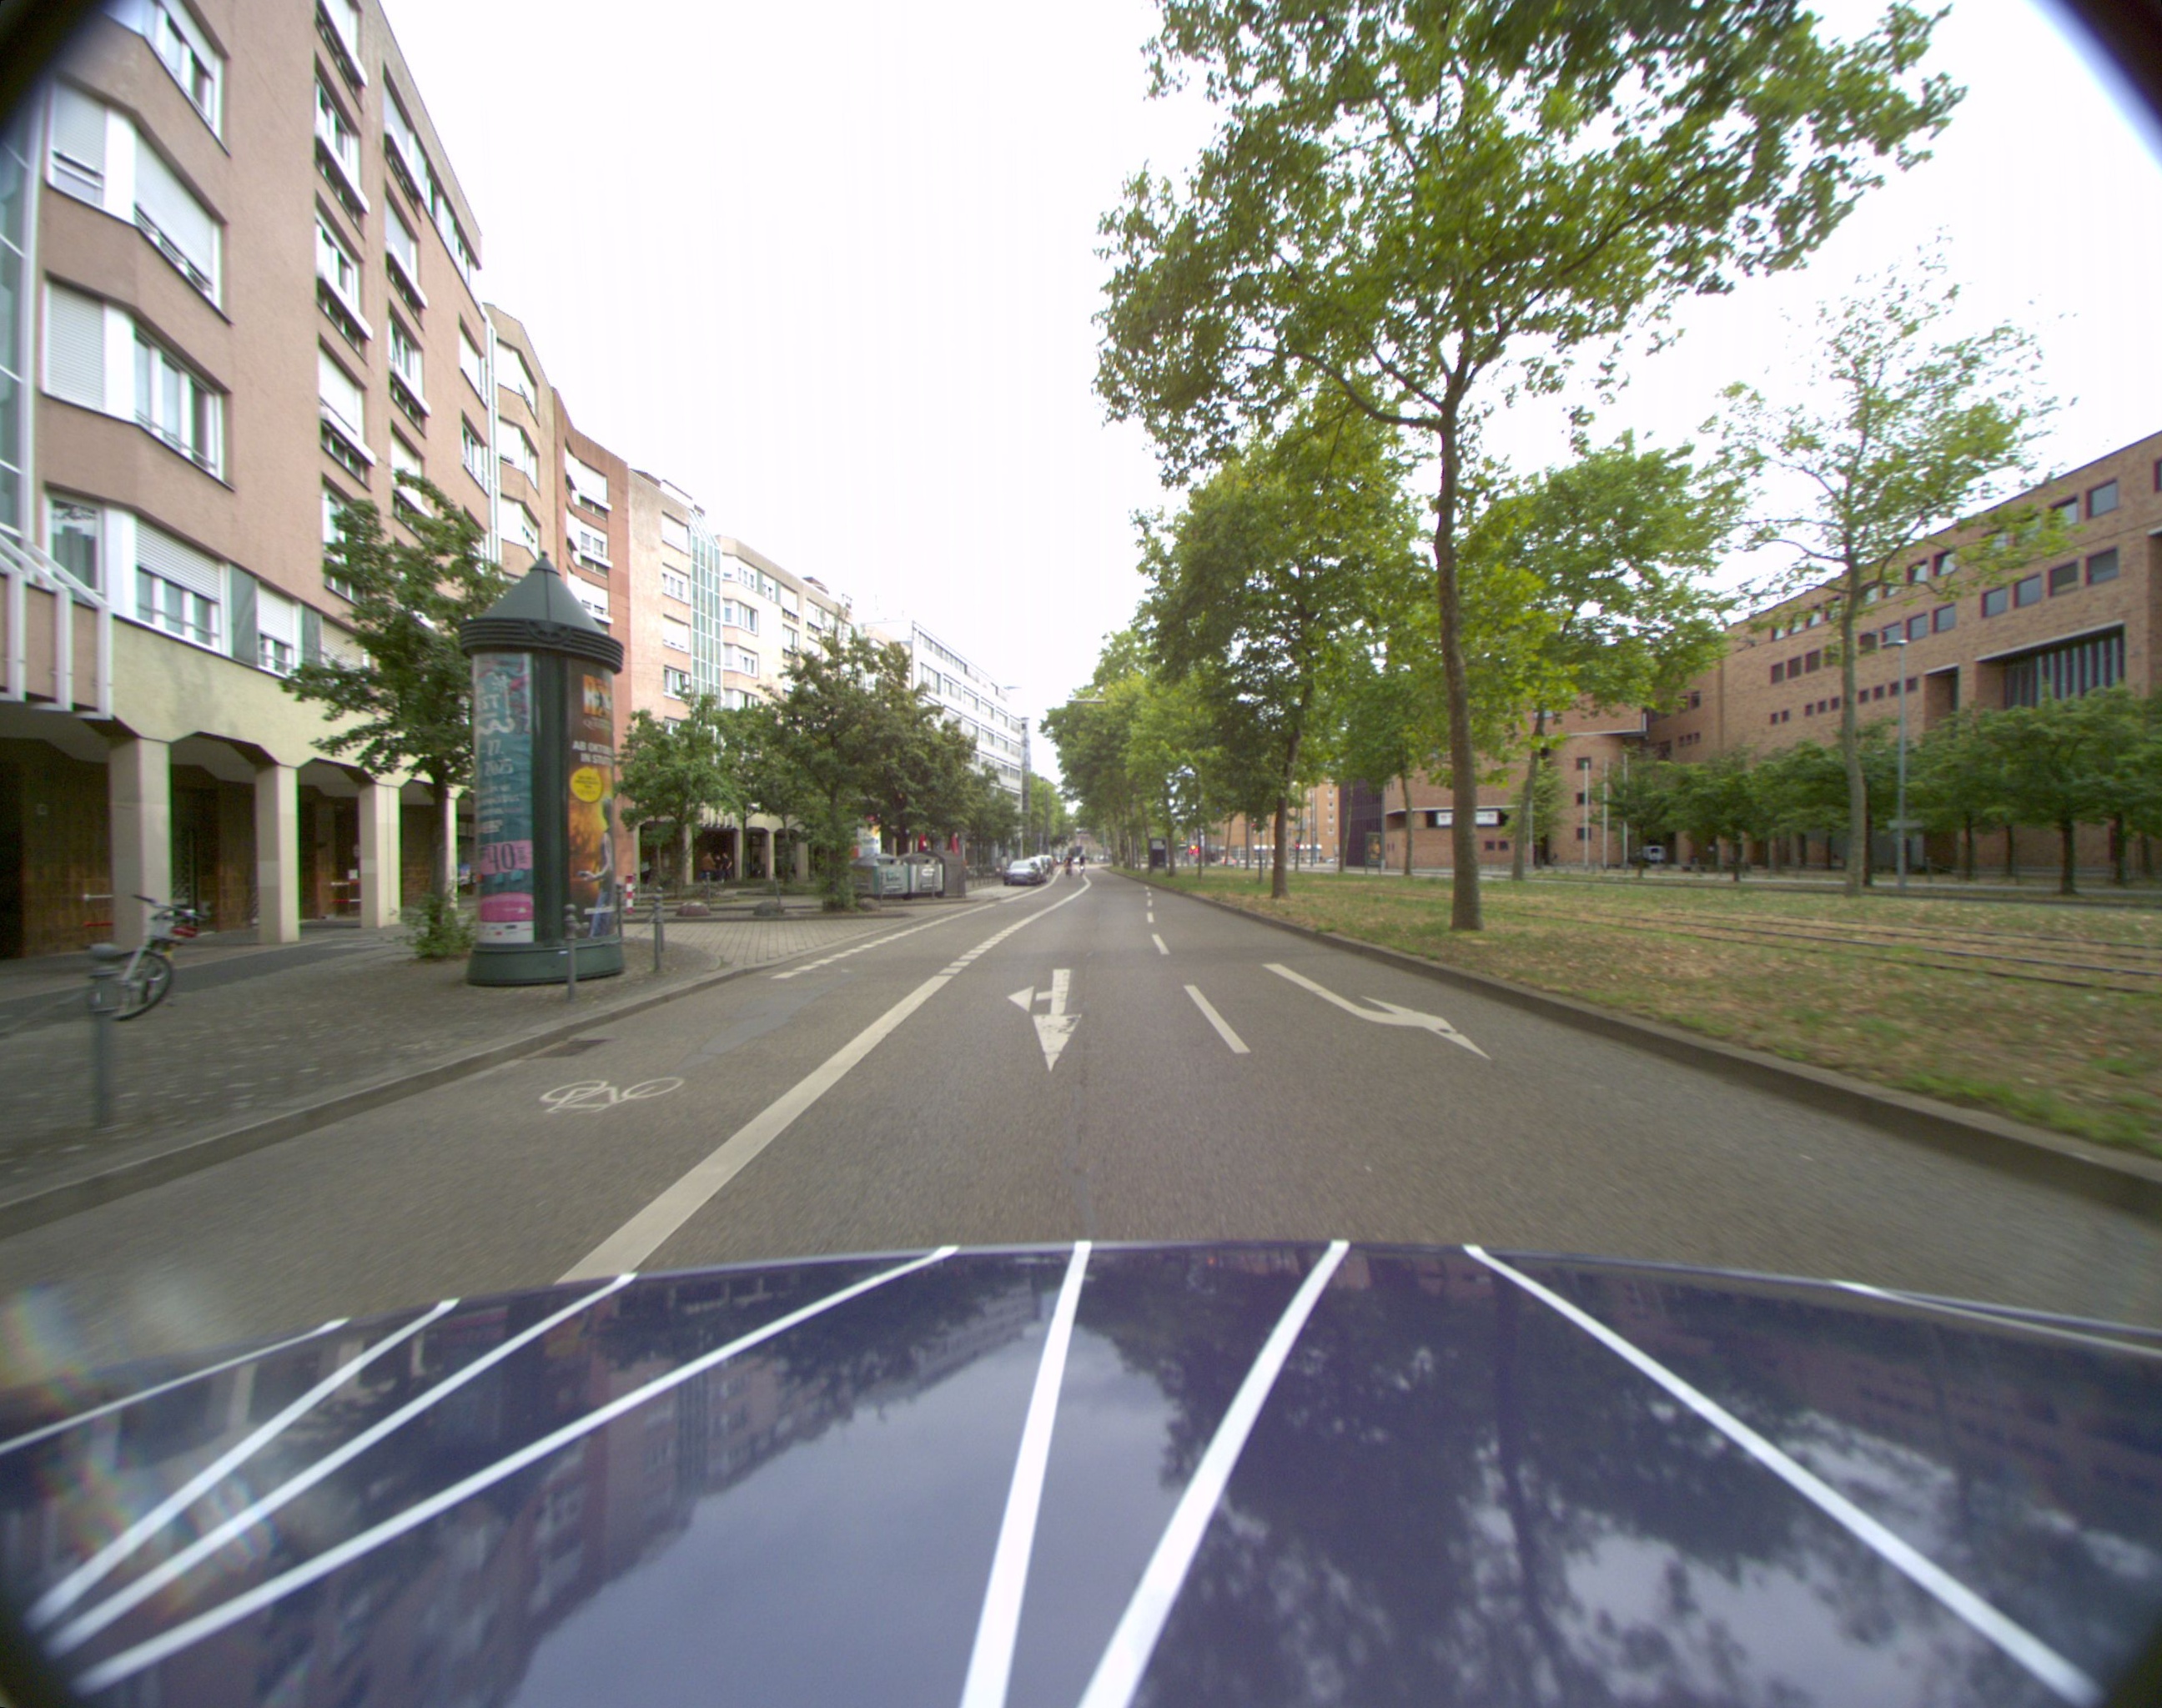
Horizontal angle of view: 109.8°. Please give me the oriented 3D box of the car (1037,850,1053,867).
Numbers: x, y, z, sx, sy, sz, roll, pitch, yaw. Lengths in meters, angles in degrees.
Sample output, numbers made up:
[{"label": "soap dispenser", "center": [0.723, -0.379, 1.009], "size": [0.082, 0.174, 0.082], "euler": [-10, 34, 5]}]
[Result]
[{"label": "car", "center": [-4.197, 0.563, 88.623], "size": [1.832, 1.853, 4.647], "euler": [2, 0, -3]}]

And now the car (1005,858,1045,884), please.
[{"label": "car", "center": [-3.196, 0.957, 44.510], "size": [1.821, 1.434, 4.666], "euler": [1, 0, 2]}]

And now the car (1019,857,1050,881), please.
[{"label": "car", "center": [-3.046, 0.951, 50.519], "size": [1.744, 1.510, 4.401], "euler": [1, 0, 1]}]

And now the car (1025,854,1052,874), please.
[{"label": "car", "center": [-3.611, 0.807, 64.993], "size": [1.865, 1.643, 4.164], "euler": [1, 0, 3]}]

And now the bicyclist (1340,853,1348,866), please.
[{"label": "bicyclist", "center": [31.464, 0.630, 90.909], "size": [0.665, 1.581, 0.984], "euler": [0, 0, 3]}]

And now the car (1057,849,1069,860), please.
[{"label": "car", "center": [-3.972, 0.071, 170.693], "size": [2.174, 2.441, 6.998], "euler": [0, 0, 3]}]

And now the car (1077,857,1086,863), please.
[{"label": "car", "center": [0.129, 1.343, 174.261], "size": [1.845, 1.369, 3.835], "euler": [0, -1, 4]}]

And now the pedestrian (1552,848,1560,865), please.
[{"label": "pedestrian", "center": [44.579, 0.242, 71.310], "size": [0.507, 1.523, 0.521], "euler": [0, 0, 15]}]

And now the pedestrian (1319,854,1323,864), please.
[{"label": "pedestrian", "center": [42.734, 0.915, 135.127], "size": [0.540, 1.721, 0.543], "euler": [0, 1, -2]}]

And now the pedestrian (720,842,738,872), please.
[{"label": "pedestrian", "center": [-19.820, 0.162, 42.805], "size": [0.606, 1.653, 0.682], "euler": [0, 1, 9]}]

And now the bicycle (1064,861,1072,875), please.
[{"label": "bicycle", "center": [-1.084, 1.140, 62.508], "size": [0.595, 1.132, 1.734], "euler": [0, 0, 0]}]

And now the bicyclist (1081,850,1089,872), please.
[{"label": "bicyclist", "center": [0.327, 0.564, 61.168], "size": [0.591, 1.760, 1.035], "euler": [0, 0, 0]}]

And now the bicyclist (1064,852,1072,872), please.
[{"label": "bicyclist", "center": [-1.072, 0.654, 62.403], "size": [0.591, 1.644, 1.035], "euler": [0, 0, 0]}]

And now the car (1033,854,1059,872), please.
[{"label": "car", "center": [-3.319, 0.815, 72.356], "size": [1.778, 1.567, 4.307], "euler": [2, 0, 6]}]

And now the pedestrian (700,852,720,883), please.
[{"label": "pedestrian", "center": [-19.629, 0.706, 40.239], "size": [0.534, 1.653, 0.852], "euler": [0, 1, 12]}]

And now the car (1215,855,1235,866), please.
[{"label": "car", "center": [19.392, 0.888, 102.496], "size": [1.788, 1.413, 4.657], "euler": [0, 0, -2]}]

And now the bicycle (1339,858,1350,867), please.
[{"label": "bicycle", "center": [31.464, 1.042, 90.851], "size": [0.669, 1.078, 2.094], "euler": [0, 0, 3]}]

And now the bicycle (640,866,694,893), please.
[{"label": "bicycle", "center": [-17.786, 1.079, 32.679], "size": [0.595, 1.106, 1.968], "euler": [0, 1, 45]}]

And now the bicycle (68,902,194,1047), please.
[{"label": "bicycle", "center": [-9.101, 1.090, 7.330], "size": [1.660, 1.122, 0.672], "euler": [1, 1, 41]}]

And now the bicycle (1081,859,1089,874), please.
[{"label": "bicycle", "center": [0.320, 1.001, 61.127], "size": [0.595, 1.132, 1.858], "euler": [0, 0, 0]}]

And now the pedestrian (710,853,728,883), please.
[{"label": "pedestrian", "center": [-20.449, 0.775, 42.905], "size": [0.606, 1.653, 0.682], "euler": [0, 1, 9]}]

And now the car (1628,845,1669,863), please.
[{"label": "car", "center": [58.188, -0.003, 77.981], "size": [1.896, 1.797, 4.003], "euler": [0, 0, 11]}]

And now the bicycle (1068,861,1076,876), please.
[{"label": "bicycle", "center": [-0.671, 1.081, 57.566], "size": [0.595, 1.132, 2.091], "euler": [0, 0, 0]}]

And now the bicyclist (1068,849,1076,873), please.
[{"label": "bicyclist", "center": [-0.665, 0.520, 57.460], "size": [0.591, 1.757, 1.035], "euler": [0, 0, 0]}]
